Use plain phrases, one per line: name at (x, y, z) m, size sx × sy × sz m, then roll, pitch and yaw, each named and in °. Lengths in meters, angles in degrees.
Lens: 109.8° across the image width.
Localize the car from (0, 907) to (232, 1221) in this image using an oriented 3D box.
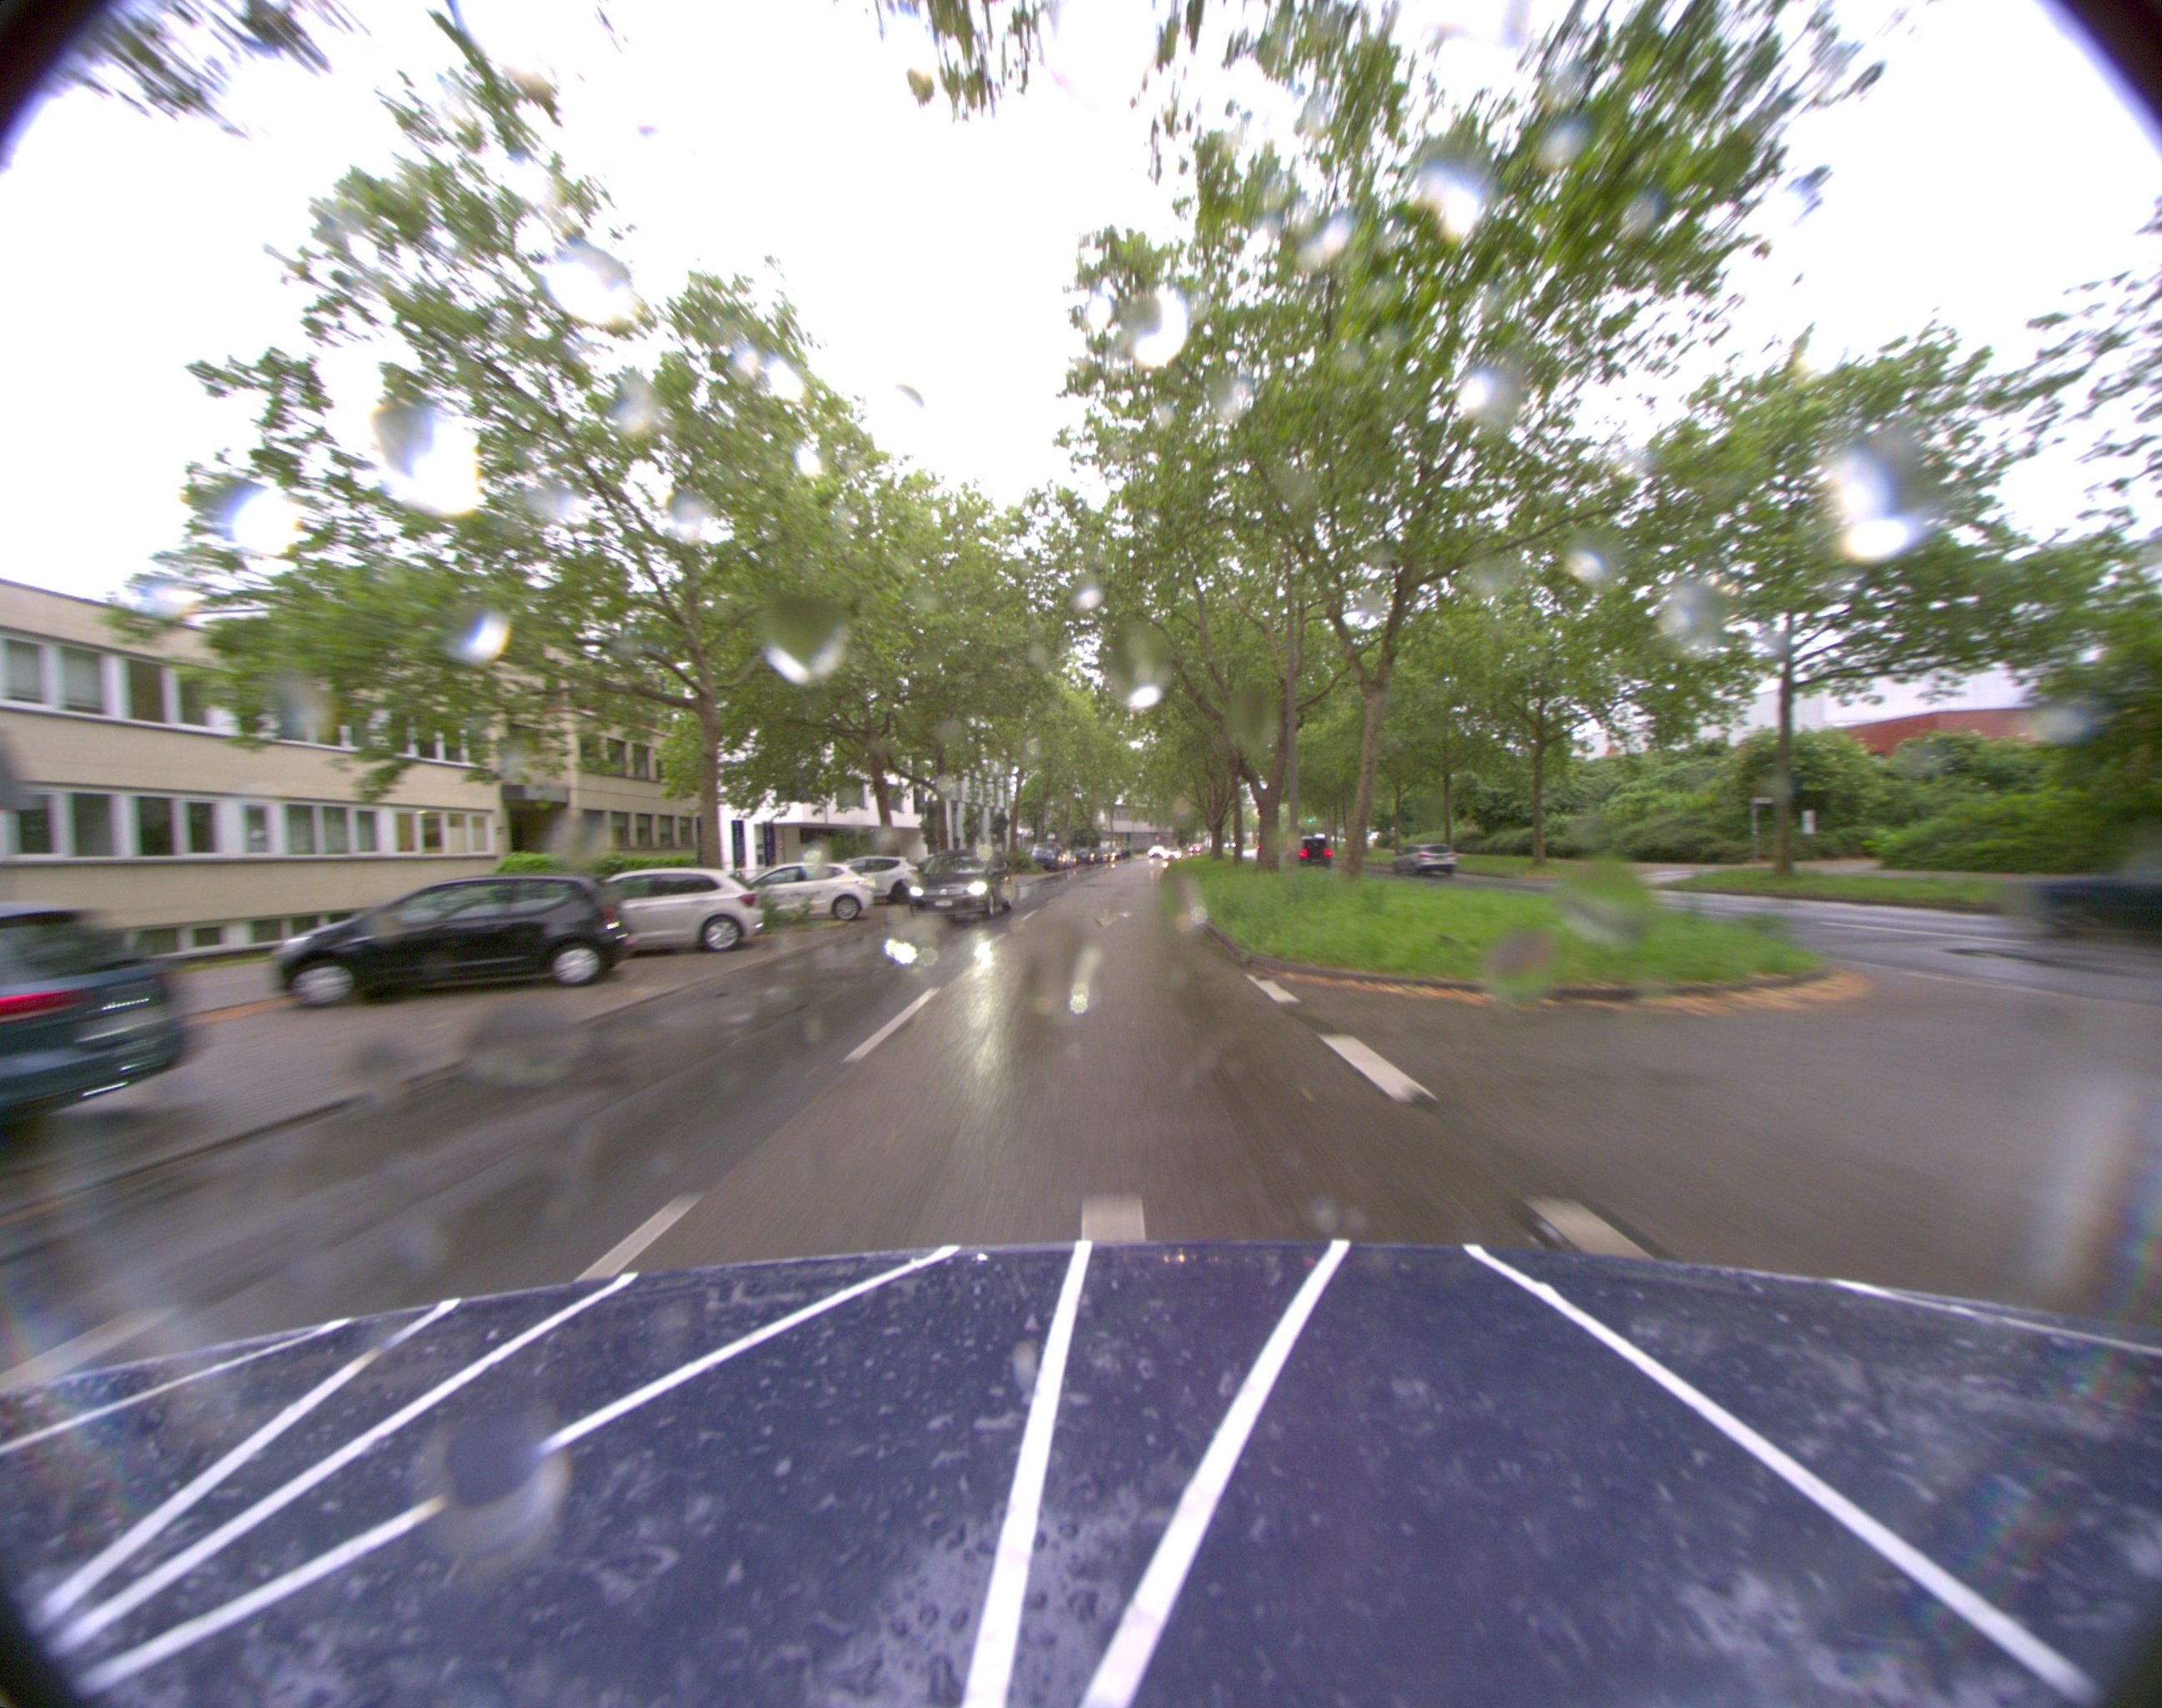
car at (-7.776, 1.185, 3.684) m, size 4.501 × 1.450 × 1.745 m, roll -2°, pitch 1°, yaw -24°

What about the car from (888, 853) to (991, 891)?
car at (-6.131, 0.759, 32.908) m, size 4.043 × 1.420 × 1.745 m, roll -2°, pitch 1°, yaw -25°

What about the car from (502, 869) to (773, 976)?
car at (-7.328, 1.051, 12.952) m, size 3.697 × 1.408 × 1.772 m, roll -2°, pitch 1°, yaw -25°

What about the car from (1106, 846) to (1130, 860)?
car at (4.218, -0.165, 86.241) m, size 1.745 × 1.420 × 4.864 m, roll 1°, pitch 2°, yaw 15°

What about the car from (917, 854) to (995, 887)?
car at (-6.122, 0.787, 37.403) m, size 3.647 × 1.496 × 1.748 m, roll -1°, pitch 0°, yaw -9°

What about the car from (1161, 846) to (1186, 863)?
car at (9.737, 0.046, 79.686) m, size 1.996 × 1.620 × 4.525 m, roll -2°, pitch 1°, yaw 13°

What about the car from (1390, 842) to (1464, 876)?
car at (16.392, 0.187, 36.243) m, size 1.747 × 1.468 × 4.235 m, roll -2°, pitch 1°, yaw 3°

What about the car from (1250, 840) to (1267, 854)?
car at (22.075, -0.916, 94.553) m, size 1.746 × 1.582 × 4.332 m, roll -2°, pitch 1°, yaw 8°

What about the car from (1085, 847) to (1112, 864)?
car at (1.730, 0.111, 73.836) m, size 1.746 × 1.468 × 4.086 m, roll -2°, pitch 1°, yaw 13°

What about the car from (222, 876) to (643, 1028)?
car at (-7.841, 1.094, 9.705) m, size 3.697 × 1.408 × 1.745 m, roll -2°, pitch 1°, yaw -25°

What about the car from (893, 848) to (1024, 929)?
car at (-2.814, 0.712, 18.950) m, size 1.998 × 1.585 × 5.590 m, roll -3°, pitch 1°, yaw 3°

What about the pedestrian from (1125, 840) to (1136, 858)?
pedestrian at (5.691, -0.552, 87.180) m, size 0.900 × 2.002 × 0.831 m, roll -2°, pitch 1°, yaw -23°

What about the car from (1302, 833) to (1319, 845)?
car at (43.304, -2.799, 143.243) m, size 2.031 × 2.213 × 5.443 m, roll -1°, pitch 1°, yaw 27°

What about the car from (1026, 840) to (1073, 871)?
car at (-2.154, 0.060, 54.273) m, size 2.125 × 2.016 × 5.531 m, roll -2°, pitch 1°, yaw 10°

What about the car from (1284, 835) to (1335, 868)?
car at (13.674, -0.162, 45.773) m, size 1.747 × 1.831 × 5.120 m, roll -2°, pitch 1°, yaw 3°

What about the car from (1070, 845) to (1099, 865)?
car at (0.323, 0.064, 66.924) m, size 1.746 × 1.557 × 4.374 m, roll -2°, pitch 1°, yaw 10°

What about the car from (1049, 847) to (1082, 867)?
car at (-1.211, 0.216, 60.487) m, size 1.746 × 1.461 × 4.308 m, roll -2°, pitch 1°, yaw 10°

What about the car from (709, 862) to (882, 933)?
car at (-6.847, 0.995, 18.413) m, size 3.696 × 1.408 × 1.746 m, roll -2°, pitch 1°, yaw -21°

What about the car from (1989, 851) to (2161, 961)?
car at (15.327, 0.683, 9.860) m, size 1.748 × 1.430 × 4.444 m, roll -2°, pitch -1°, yaw 0°

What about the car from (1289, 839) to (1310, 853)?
car at (24.483, -0.907, 85.203) m, size 1.747 × 1.468 × 4.084 m, roll -2°, pitch 1°, yaw 8°

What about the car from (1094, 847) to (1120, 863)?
car at (2.775, 0.083, 79.845) m, size 1.746 × 1.420 × 5.107 m, roll -2°, pitch 1°, yaw 12°

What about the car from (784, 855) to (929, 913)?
car at (-6.987, 0.887, 23.715) m, size 4.043 × 1.530 × 1.745 m, roll -2°, pitch 1°, yaw -27°

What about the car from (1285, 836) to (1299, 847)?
car at (31.597, -1.871, 113.770) m, size 1.745 × 1.451 × 3.846 m, roll -2°, pitch 1°, yaw 20°
